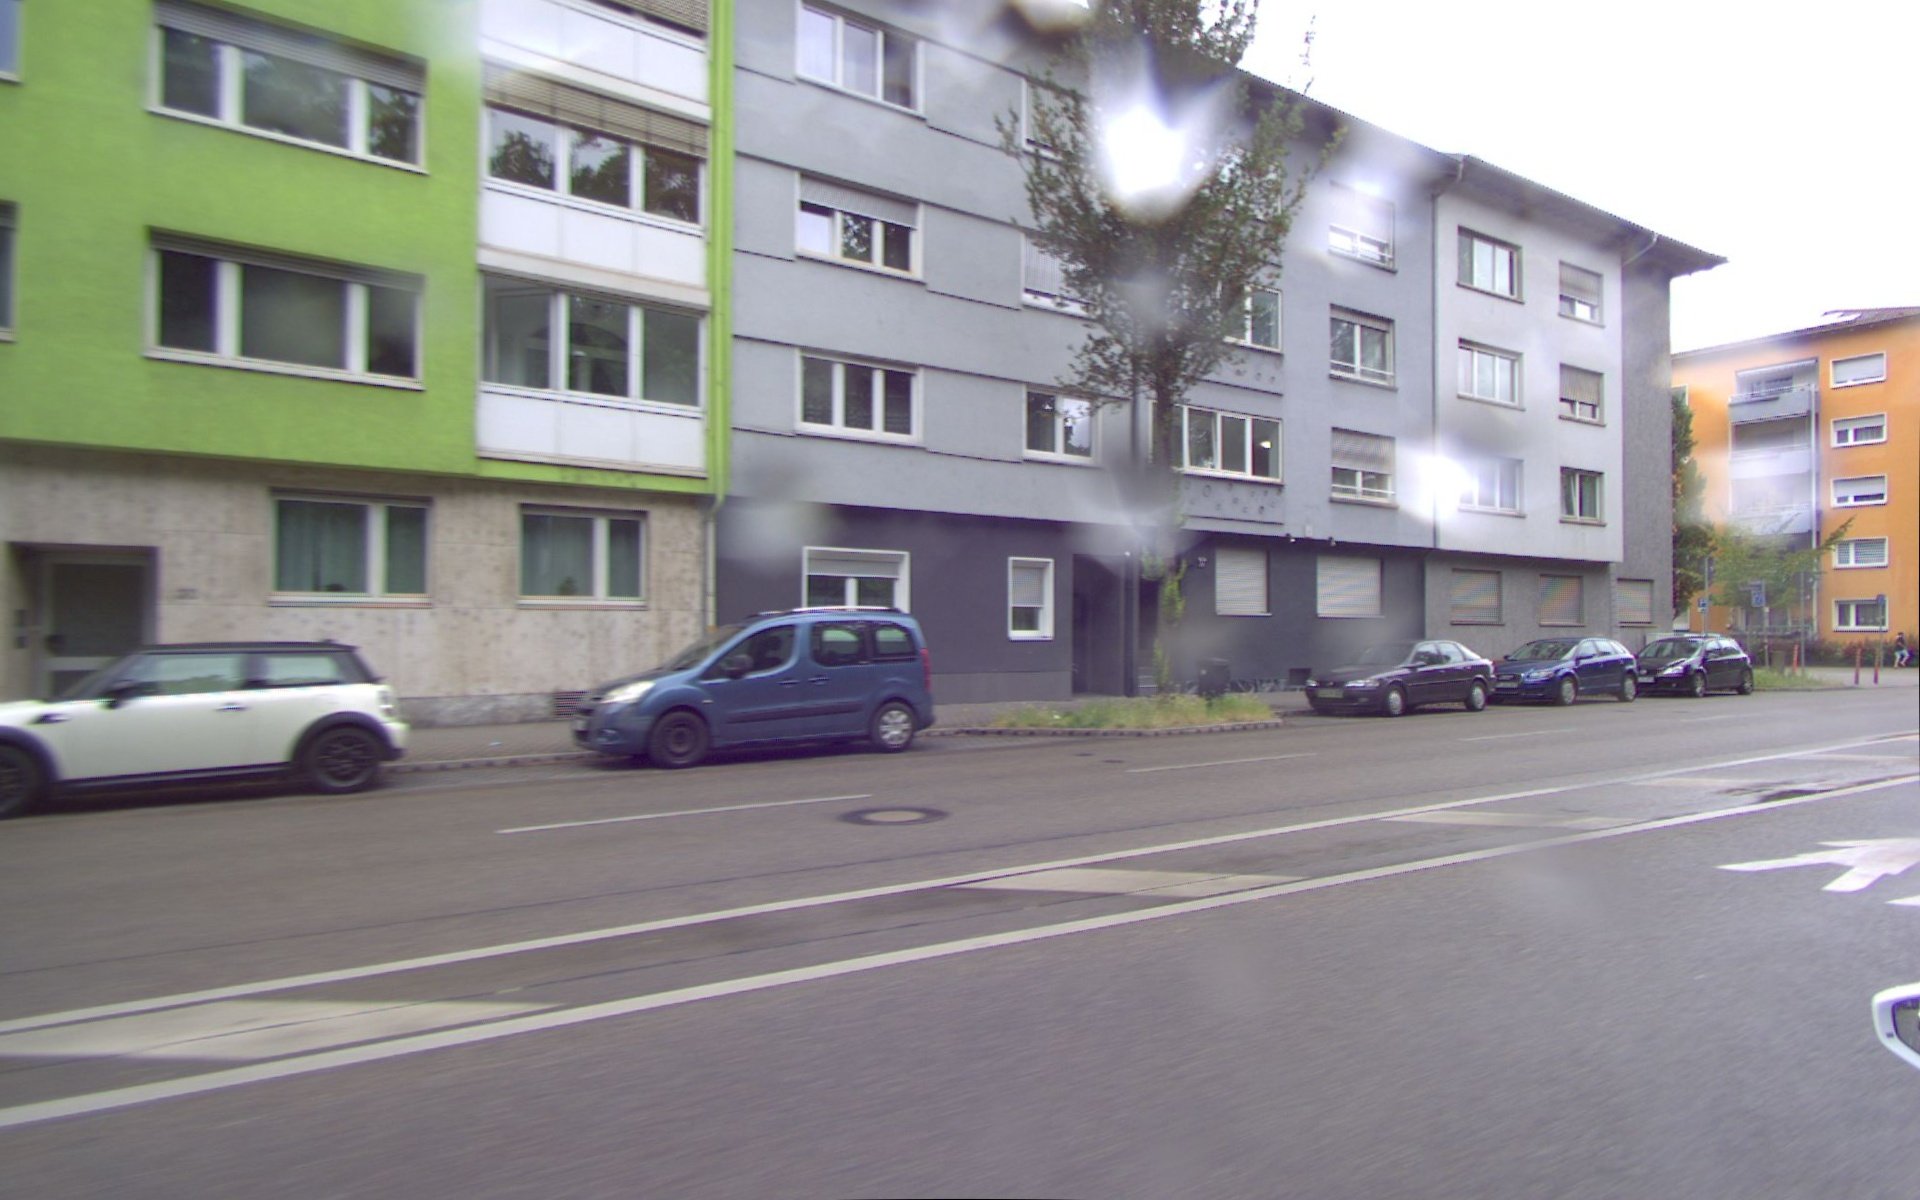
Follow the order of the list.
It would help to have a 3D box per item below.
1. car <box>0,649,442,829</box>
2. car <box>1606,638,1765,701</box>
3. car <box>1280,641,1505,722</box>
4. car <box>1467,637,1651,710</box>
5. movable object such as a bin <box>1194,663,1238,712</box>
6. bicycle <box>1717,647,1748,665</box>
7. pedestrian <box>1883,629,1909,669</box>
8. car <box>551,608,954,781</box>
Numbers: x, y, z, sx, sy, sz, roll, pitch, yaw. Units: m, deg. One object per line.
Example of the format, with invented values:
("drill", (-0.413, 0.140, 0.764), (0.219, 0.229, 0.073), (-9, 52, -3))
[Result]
("car", (-7.127, 1.193, 9.355), (3.958, 1.394, 1.671), (1, -4, -34))
("car", (18.233, 1.713, 25.200), (4.274, 1.444, 1.704), (1, -4, -32))
("car", (8.361, 1.525, 19.282), (4.529, 1.375, 1.680), (1, -5, -33))
("car", (13.245, 1.596, 22.157), (4.228, 1.468, 1.672), (1, -5, -32))
("movable object such as a bin", (4.499, 1.536, 17.658), (0.603, 0.828, 0.466), (1, -3, -33))
("bicycle", (32.835, 2.383, 42.693), (1.528, 0.759, 0.462), (1, -2, -30))
("pedestrian", (38.862, 2.035, 41.704), (0.653, 1.625, 0.583), (1, -3, -30))
("car", (-2.494, 1.076, 12.471), (4.550, 1.789, 1.881), (1, -3, -32))
